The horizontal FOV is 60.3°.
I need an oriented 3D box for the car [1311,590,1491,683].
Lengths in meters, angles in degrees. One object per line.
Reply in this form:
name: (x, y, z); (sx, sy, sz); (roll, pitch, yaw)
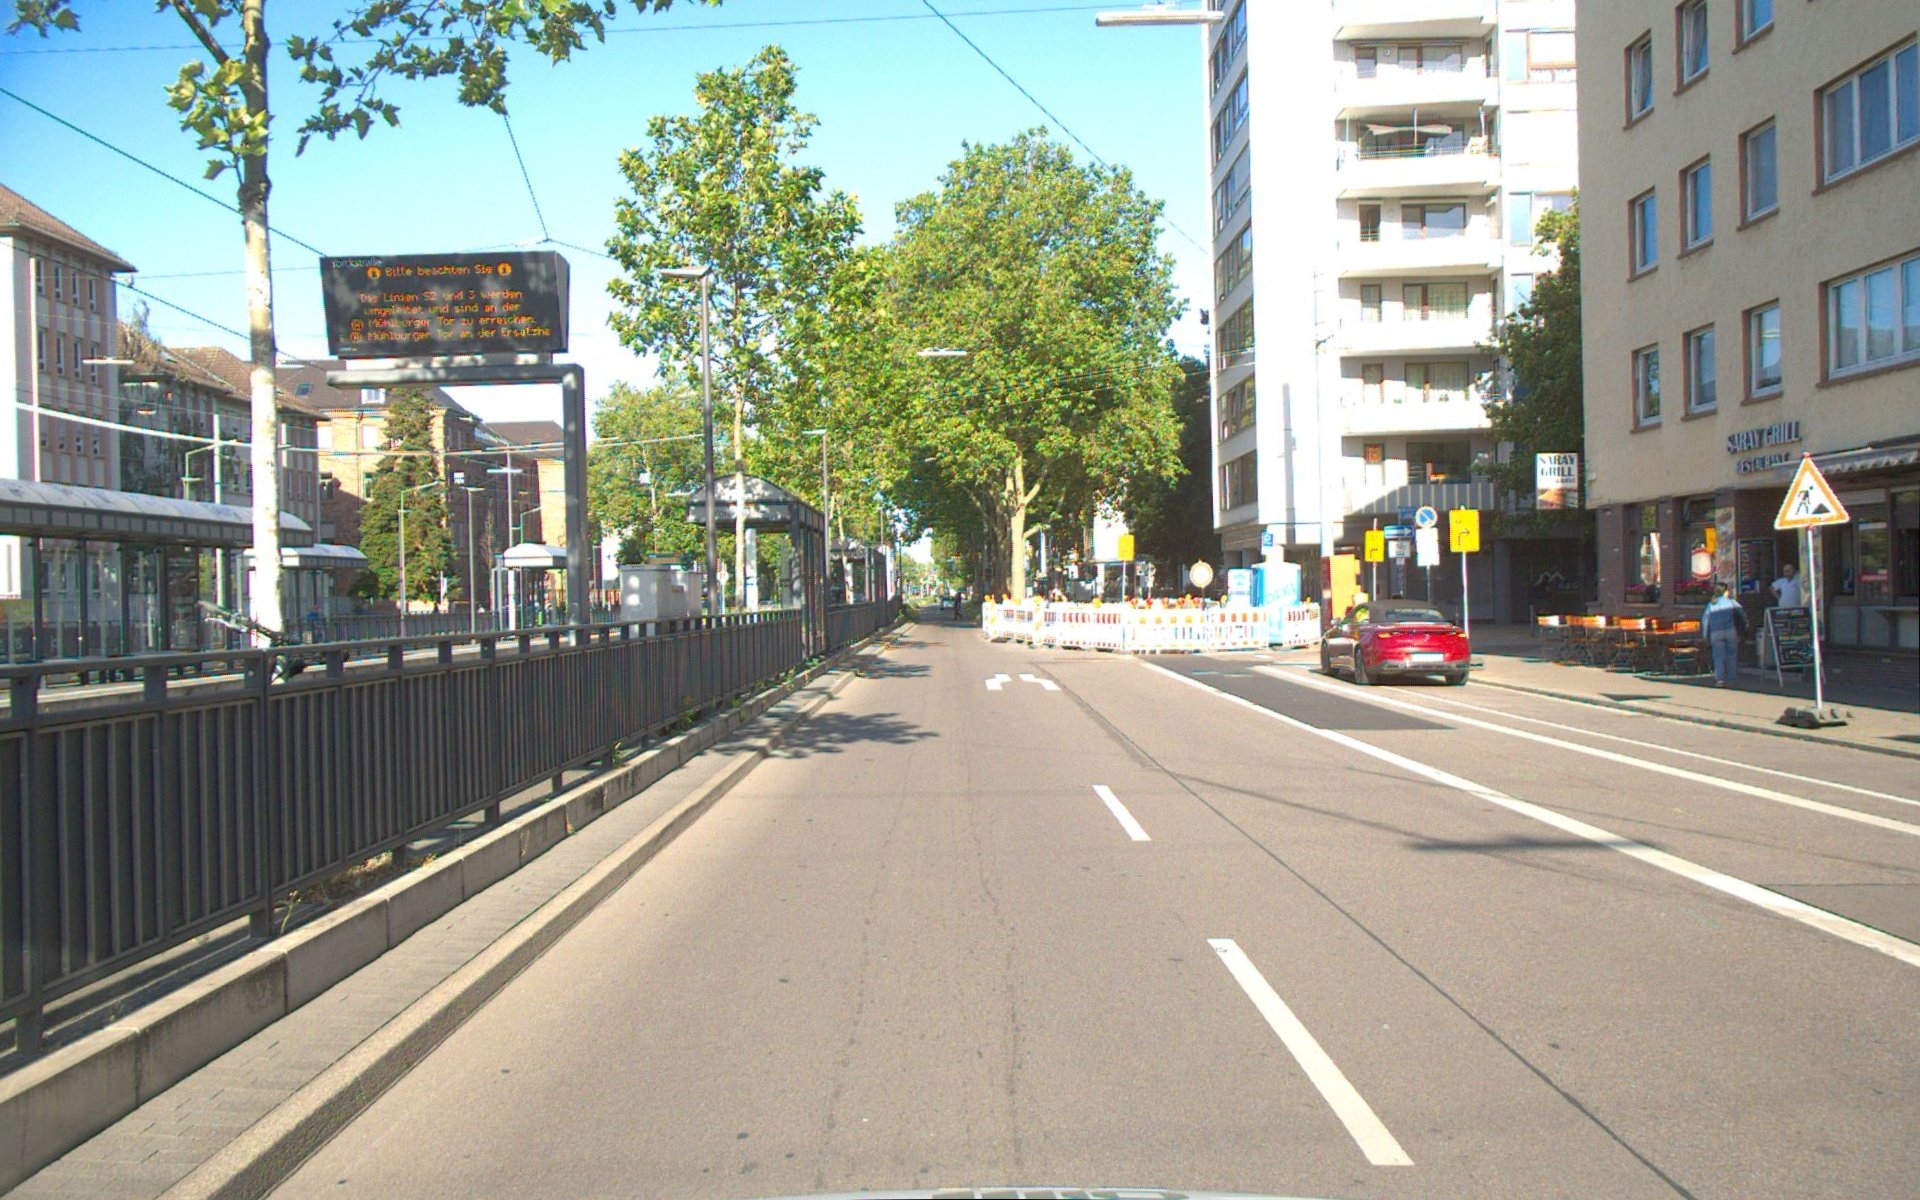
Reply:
car: (7.727, 0.587, 29.497); (1.833, 1.468, 5.159); (-1, 0, 0)

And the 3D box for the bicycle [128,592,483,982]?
bicycle: (-2.696, 0.676, 7.106); (0.626, 1.403, 2.169); (-1, 0, 0)

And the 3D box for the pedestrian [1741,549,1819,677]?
pedestrian: (12.408, 0.195, 25.054); (0.713, 1.887, 0.901); (-1, 0, 2)

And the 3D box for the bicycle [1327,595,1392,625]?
bicycle: (13.123, 0.331, 54.326); (1.986, 0.959, 1.018); (-1, 0, 19)

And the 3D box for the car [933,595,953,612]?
car: (-1.722, 0.318, 166.115); (1.980, 1.691, 3.999); (-1, 0, -1)

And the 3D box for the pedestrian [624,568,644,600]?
pedestrian: (-18.629, -0.906, 94.483); (0.933, 1.766, 0.730); (-1, 0, 2)

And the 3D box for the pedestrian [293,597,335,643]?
pedestrian: (-20.196, 0.608, 51.688); (0.955, 1.400, 0.879); (-1, 0, -1)

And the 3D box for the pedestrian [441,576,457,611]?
pedestrian: (-28.129, -0.349, 91.024); (0.678, 1.869, 0.573); (-1, 0, -1)

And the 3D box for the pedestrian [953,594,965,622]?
pedestrian: (-0.071, 0.475, 102.447); (0.697, 1.710, 0.772); (-1, 0, -2)

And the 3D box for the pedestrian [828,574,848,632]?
pedestrian: (-4.359, 0.112, 59.017); (0.654, 2.049, 0.716); (-1, 0, -1)

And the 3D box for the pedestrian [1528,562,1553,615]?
pedestrian: (21.193, -0.413, 60.364); (0.642, 1.887, 0.678); (1, 0, 1)

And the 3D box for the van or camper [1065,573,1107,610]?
van or camper: (8.207, -0.551, 108.336); (2.244, 2.326, 5.822); (-1, 0, -1)

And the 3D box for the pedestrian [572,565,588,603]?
pedestrian: (-20.743, -0.854, 90.347); (0.649, 2.049, 0.860); (-1, 0, -1)

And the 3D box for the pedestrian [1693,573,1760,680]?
pedestrian: (11.250, 0.381, 24.291); (0.657, 1.533, 0.652); (-1, 0, -1)

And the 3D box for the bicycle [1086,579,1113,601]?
bicycle: (8.814, -0.629, 104.555); (1.572, 1.285, 0.962); (-1, 0, -5)
